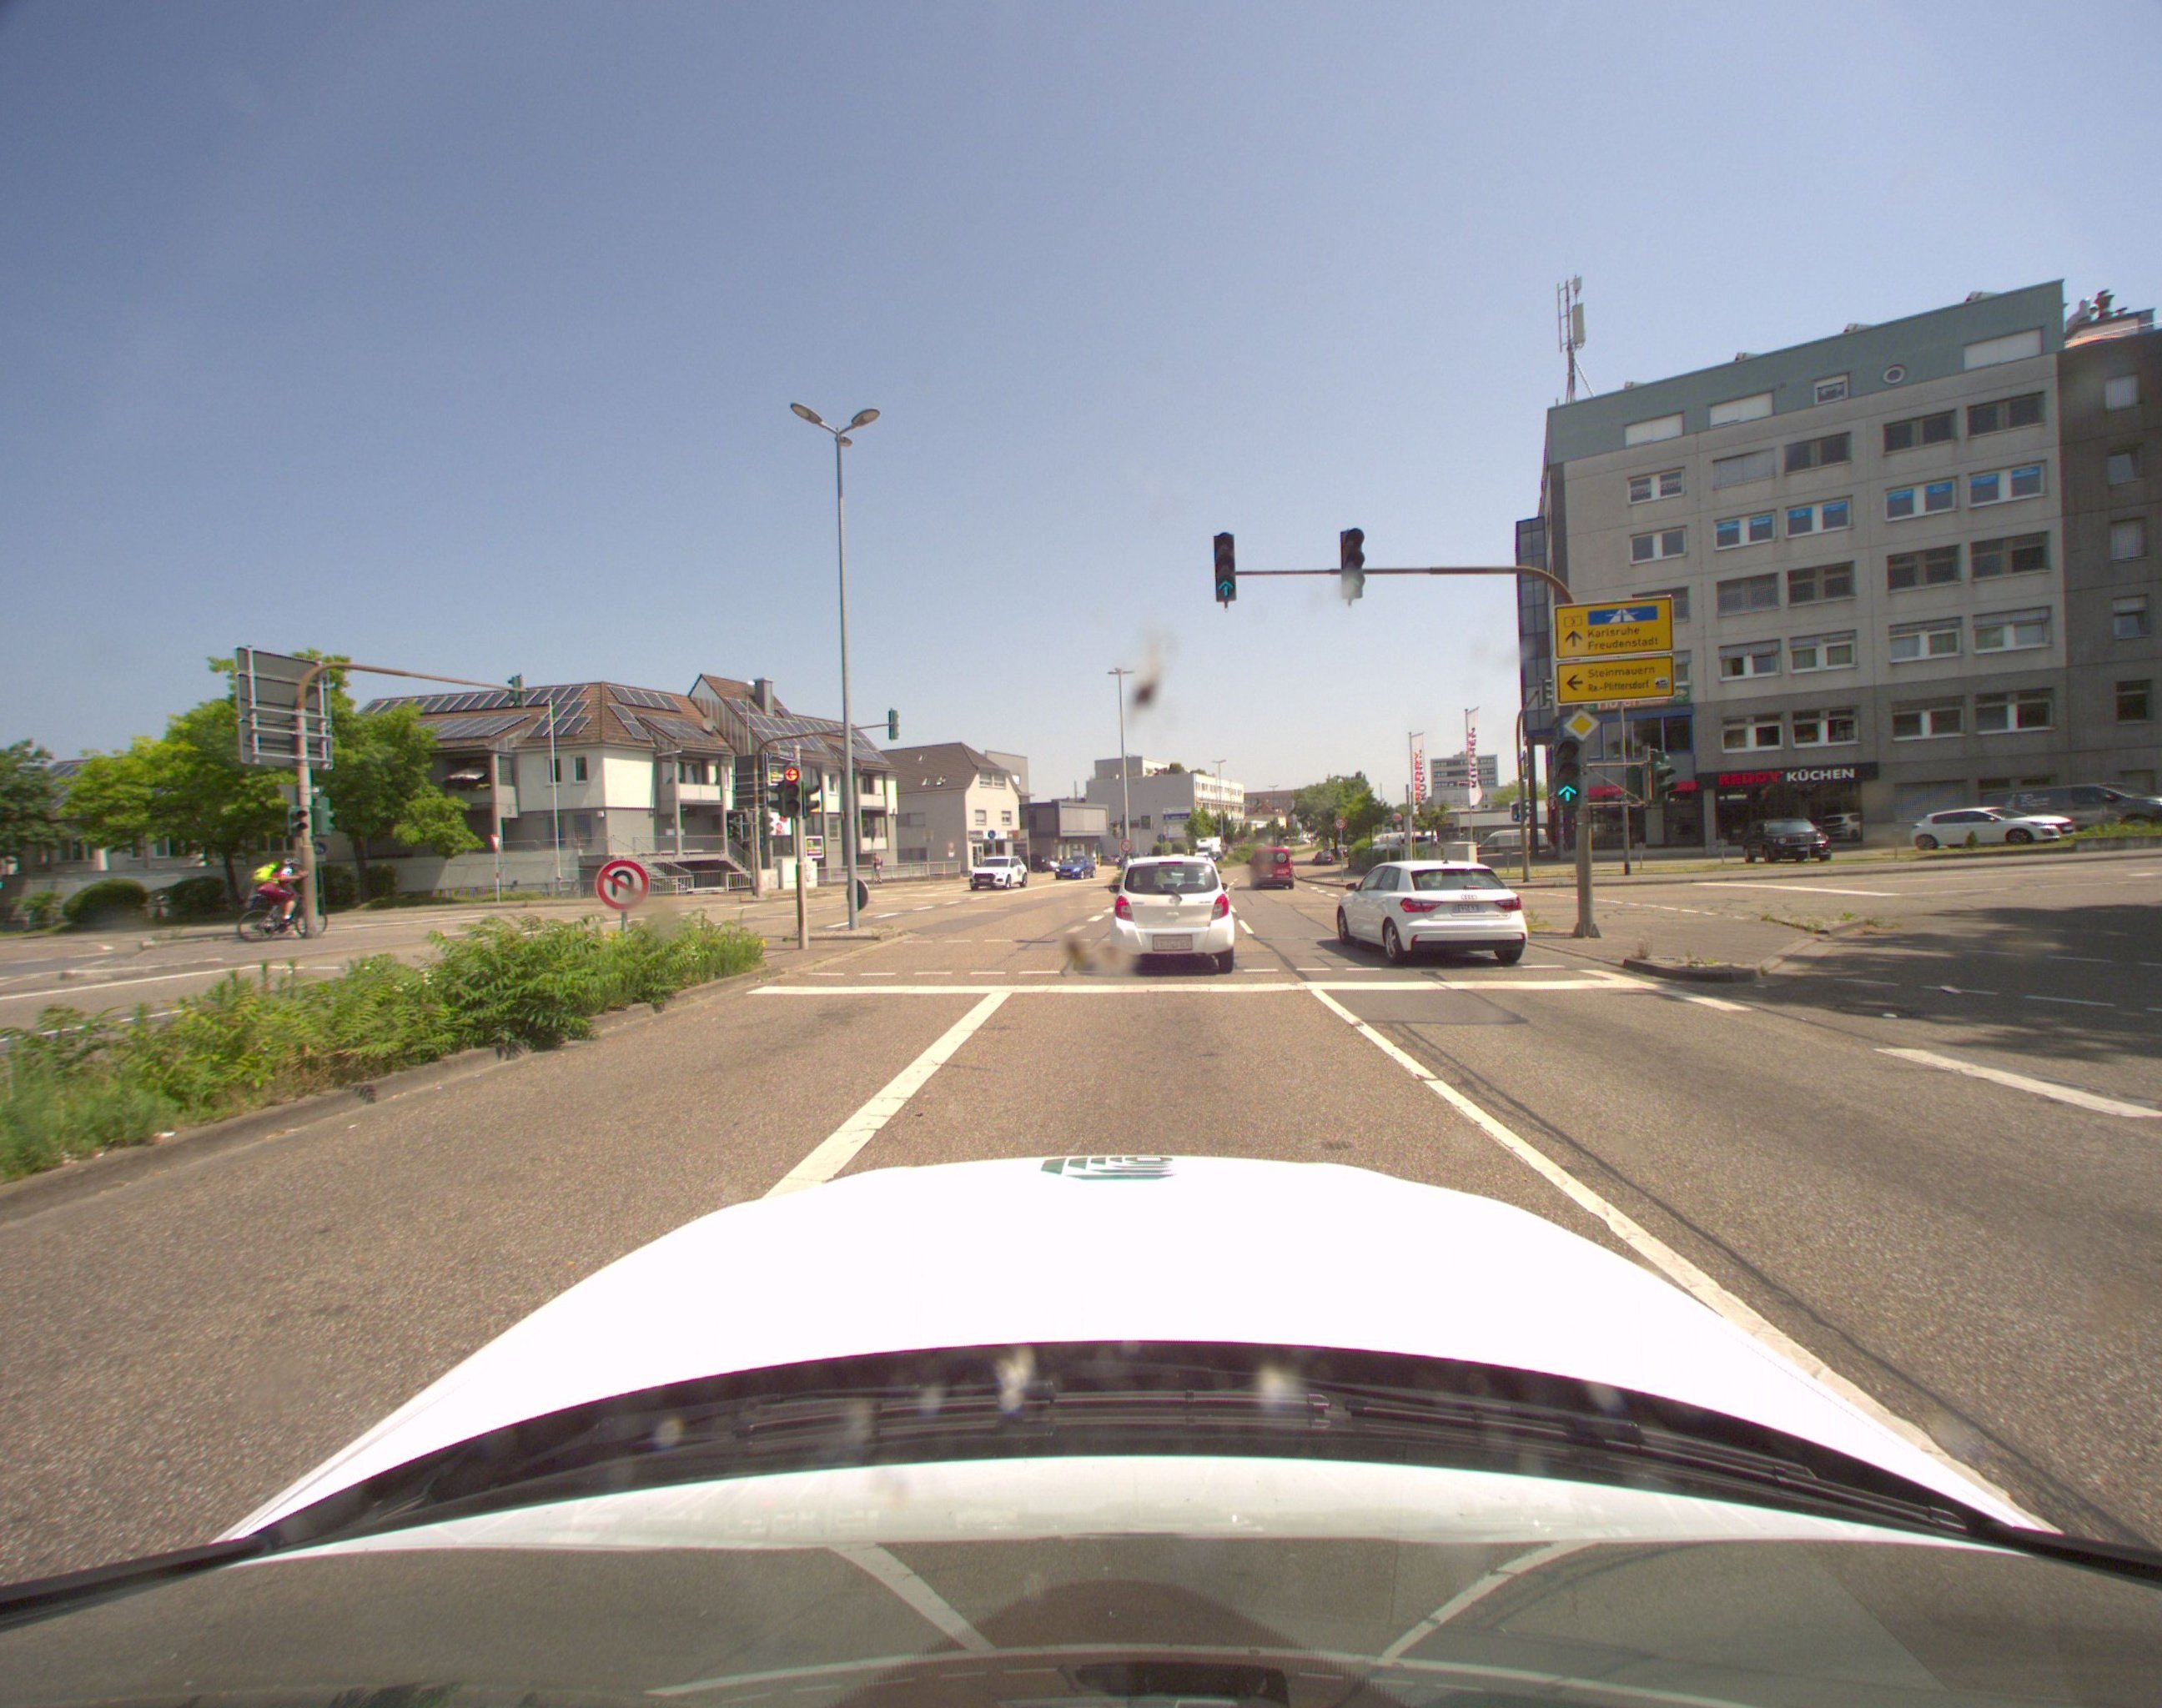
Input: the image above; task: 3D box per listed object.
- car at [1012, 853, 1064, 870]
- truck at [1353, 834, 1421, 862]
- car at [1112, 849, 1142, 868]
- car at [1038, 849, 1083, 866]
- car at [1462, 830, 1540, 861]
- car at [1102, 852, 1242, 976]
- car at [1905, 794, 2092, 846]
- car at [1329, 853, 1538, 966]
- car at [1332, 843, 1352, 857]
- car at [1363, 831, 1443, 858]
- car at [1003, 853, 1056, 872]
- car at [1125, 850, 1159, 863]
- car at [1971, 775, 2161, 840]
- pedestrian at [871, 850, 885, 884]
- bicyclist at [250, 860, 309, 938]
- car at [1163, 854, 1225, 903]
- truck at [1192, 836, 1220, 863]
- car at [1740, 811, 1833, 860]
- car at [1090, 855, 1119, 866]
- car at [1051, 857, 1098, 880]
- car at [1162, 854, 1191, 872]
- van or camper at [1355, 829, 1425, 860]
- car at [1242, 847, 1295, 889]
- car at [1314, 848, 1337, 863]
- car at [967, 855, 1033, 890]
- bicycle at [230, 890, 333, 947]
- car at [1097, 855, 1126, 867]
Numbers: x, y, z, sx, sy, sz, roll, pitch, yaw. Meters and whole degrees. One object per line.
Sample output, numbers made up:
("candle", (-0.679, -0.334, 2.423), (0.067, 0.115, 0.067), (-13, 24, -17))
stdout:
("car", (-4.130, 0.729, 78.486), (4.571, 1.496, 1.760), (2, 1, 15))
("truck", (31.007, -0.606, 82.647), (6.188, 2.336, 2.382), (-4, 1, 25))
("car", (4.432, 0.409, 78.323), (1.979, 1.656, 4.611), (-2, 0, 14))
("car", (-2.048, 0.329, 81.303), (4.022, 1.521, 2.010), (-3, -1, 20))
("car", (36.235, -0.702, 70.449), (5.831, 2.528, 2.132), (-1, -1, 26))
("car", (1.206, 0.762, 11.694), (1.705, 1.511, 3.249), (-1, -1, 3))
("car", (32.991, -1.157, 29.474), (1.542, 1.533, 4.202), (0, -2, -16))
("car", (5.066, 0.713, 12.278), (1.660, 1.399, 3.796), (-1, 0, 3))
("car", (34.744, -0.520, 108.172), (1.943, 1.530, 5.190), (-5, 0, 23))
("car", (22.244, -0.647, 56.396), (4.712, 1.713, 1.998), (-1, -1, -2))
("car", (-4.792, 0.791, 75.534), (4.565, 1.627, 1.864), (1, 1, 23))
("car", (7.977, 0.378, 106.894), (3.960, 1.371, 1.679), (-4, 1, 26))
("car", (35.809, -1.580, 29.098), (1.888, 2.037, 5.165), (0, 0, -15))
("pedestrian", (-11.945, 0.761, 47.918), (0.499, 2.013, 0.744), (-1, 1, 7))
("bicyclist", (-17.323, 0.956, 17.624), (0.419, 1.642, 0.821), (-1, 1, 1))
("car", (3.713, 0.734, 26.556), (1.819, 1.450, 4.010), (-1, 0, 9))
("truck", (16.293, -0.552, 105.875), (2.246, 3.417, 7.072), (-1, -1, 19))
("car", (26.547, -0.653, 30.783), (1.524, 1.675, 4.355), (-2, 0, 26))
("car", (3.599, 0.939, 124.552), (3.939, 1.467, 1.973), (-3, 0, 18))
("car", (-0.369, 0.893, 52.666), (1.849, 1.366, 4.365), (-1, 0, 16))
("car", (8.161, 0.738, 69.308), (1.849, 1.431, 4.763), (-1, 0, 14))
("van or camper", (32.938, -1.031, 86.787), (6.736, 2.897, 2.288), (-3, 0, 23))
("car", (8.187, 0.578, 35.885), (1.786, 1.729, 3.979), (-1, 0, 6))
("car", (24.210, 0.174, 80.709), (1.782, 1.406, 4.343), (-1, 1, 22))
("car", (-3.910, 0.853, 40.011), (1.804, 1.570, 4.572), (-1, 0, 13))
("bicycle", (-17.325, 1.366, 17.707), (0.419, 1.054, 1.790), (-1, 1, 1))
("car", (4.840, 1.058, 127.698), (3.940, 1.467, 2.084), (-4, 0, 21))
